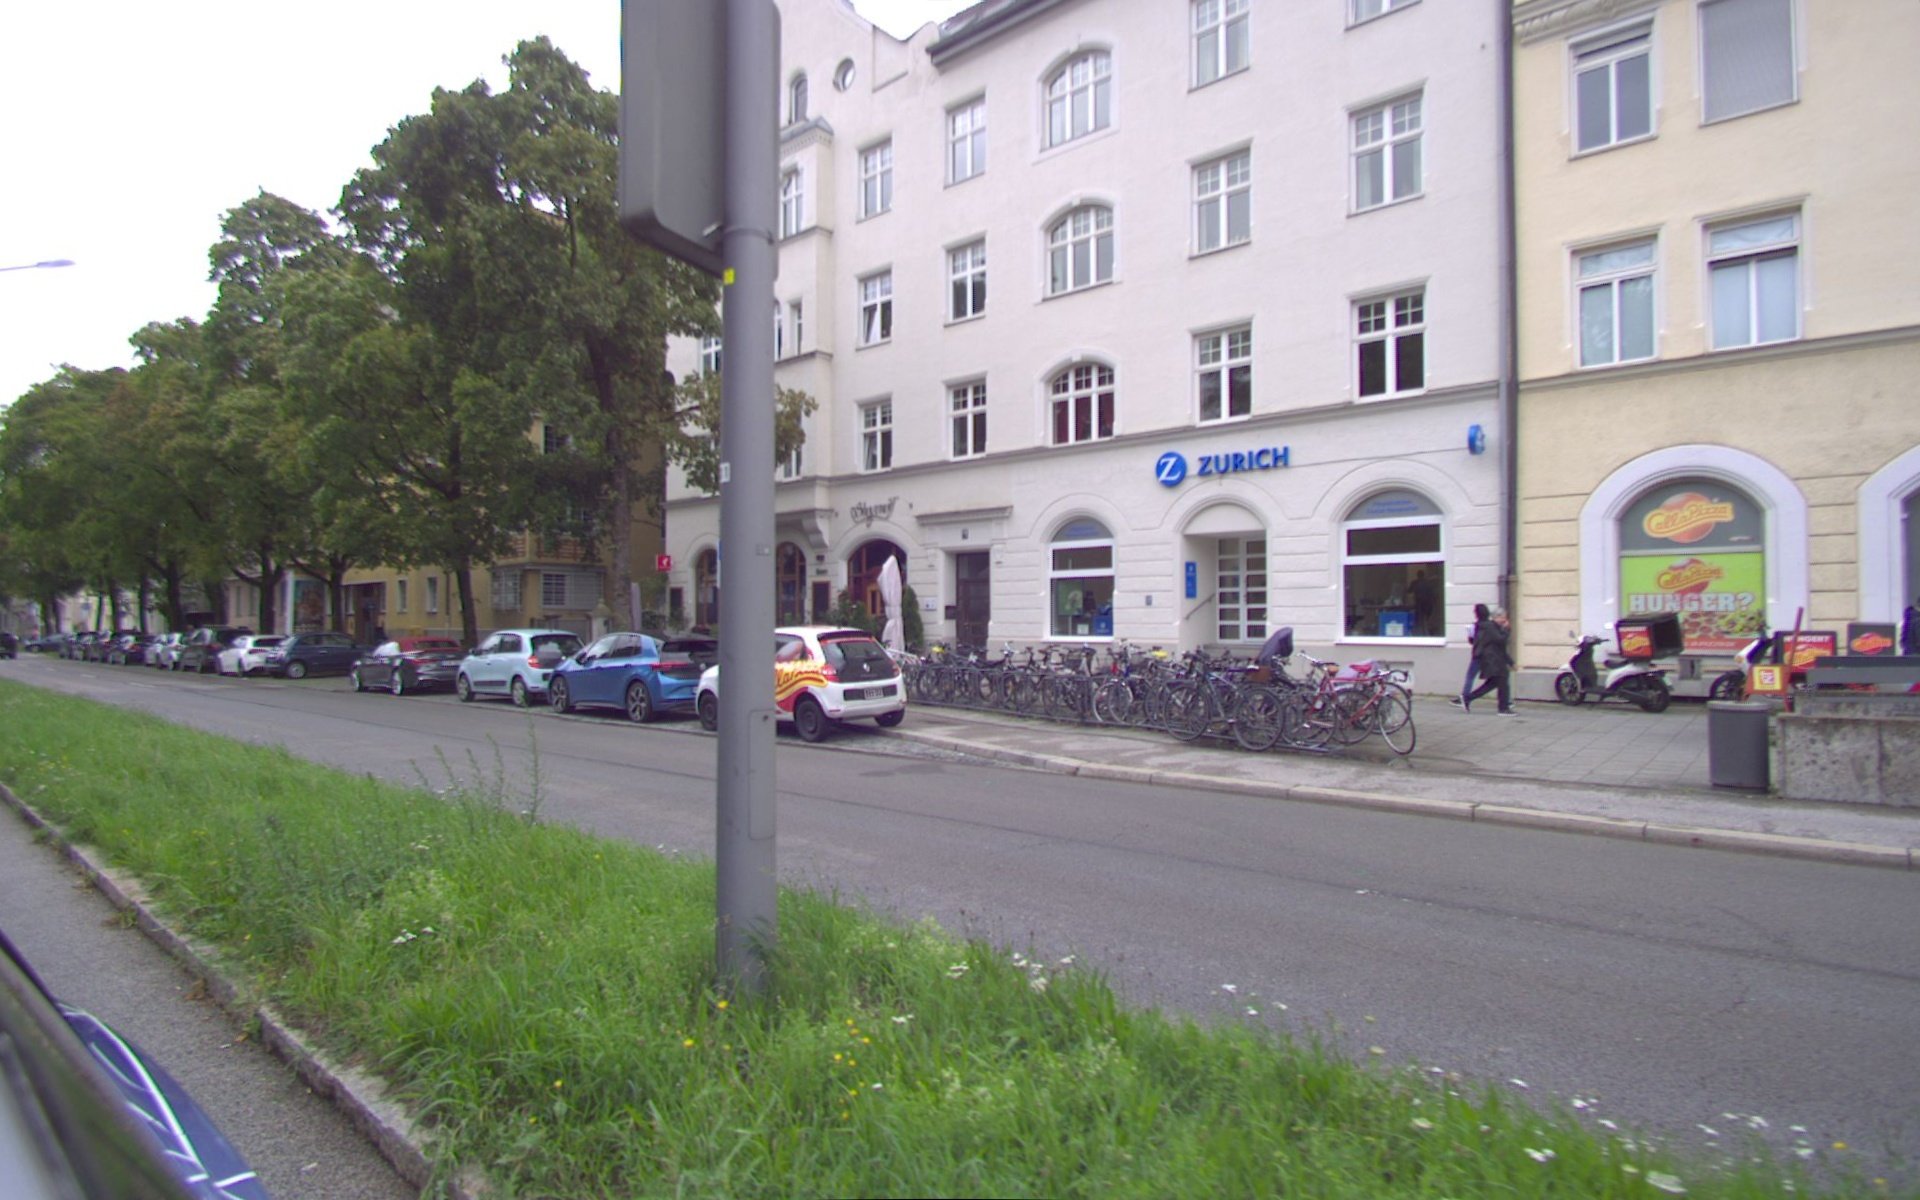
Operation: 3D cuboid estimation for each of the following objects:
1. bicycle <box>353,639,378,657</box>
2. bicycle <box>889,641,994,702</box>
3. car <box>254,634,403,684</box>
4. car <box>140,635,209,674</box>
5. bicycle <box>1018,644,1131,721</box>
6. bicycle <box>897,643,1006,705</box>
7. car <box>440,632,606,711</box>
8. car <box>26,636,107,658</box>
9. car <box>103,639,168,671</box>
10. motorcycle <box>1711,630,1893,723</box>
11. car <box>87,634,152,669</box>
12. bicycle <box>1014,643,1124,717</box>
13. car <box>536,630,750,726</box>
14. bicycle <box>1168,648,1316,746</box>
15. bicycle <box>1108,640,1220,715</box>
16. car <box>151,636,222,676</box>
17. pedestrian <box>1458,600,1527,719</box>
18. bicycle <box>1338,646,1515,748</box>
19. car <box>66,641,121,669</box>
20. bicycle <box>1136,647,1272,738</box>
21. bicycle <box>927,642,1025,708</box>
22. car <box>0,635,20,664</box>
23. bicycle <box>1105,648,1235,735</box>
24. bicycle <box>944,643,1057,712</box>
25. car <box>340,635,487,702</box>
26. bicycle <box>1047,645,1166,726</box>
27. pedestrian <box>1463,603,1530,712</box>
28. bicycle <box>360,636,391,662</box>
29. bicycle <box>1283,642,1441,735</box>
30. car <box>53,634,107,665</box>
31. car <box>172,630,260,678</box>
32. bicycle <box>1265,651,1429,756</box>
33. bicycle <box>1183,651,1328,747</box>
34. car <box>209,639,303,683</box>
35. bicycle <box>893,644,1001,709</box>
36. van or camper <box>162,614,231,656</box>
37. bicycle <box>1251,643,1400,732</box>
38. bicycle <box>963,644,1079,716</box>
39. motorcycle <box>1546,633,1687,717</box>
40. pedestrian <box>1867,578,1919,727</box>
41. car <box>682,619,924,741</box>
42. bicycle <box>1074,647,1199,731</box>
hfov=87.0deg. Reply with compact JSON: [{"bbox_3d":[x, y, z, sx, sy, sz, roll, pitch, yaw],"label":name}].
[{"bbox_3d":[-30.345,2.443,51.649,1.930,0.906,0.536,-2,-2,42],"label":"bicycle"},{"bbox_3d":[-0.345,1.355,19.228,1.945,1.124,0.457,-1,-2,10],"label":"bicycle"},{"bbox_3d":[-20.904,1.924,33.610,1.731,1.475,3.850,-2,-1,40],"label":"car"},{"bbox_3d":[-34.604,2.365,44.555,4.055,1.573,1.708,-2,-2,42],"label":"car"},{"bbox_3d":[1.729,1.243,15.350,1.667,1.124,0.328,-1,-2,19],"label":"bicycle"},{"bbox_3d":[-0.154,1.368,18.780,1.967,1.124,0.503,-1,-2,10],"label":"bicycle"},{"bbox_3d":[-9.406,1.460,21.653,3.959,1.518,1.791,-2,-2,42],"label":"car"},{"bbox_3d":[-64.238,3.373,72.805,3.932,1.386,1.867,-1,-2,-16],"label":"car"},{"bbox_3d":[-38.826,2.539,47.622,4.361,1.416,1.708,-2,-2,42],"label":"car"},{"bbox_3d":[11.380,0.992,13.784,0.600,1.130,1.991,0,-1,-9],"label":"motorcycle"},{"bbox_3d":[-42.933,2.596,51.678,4.768,1.658,1.859,-2,-2,42],"label":"car"},{"bbox_3d":[1.689,1.236,15.804,1.667,1.124,0.328,-1,-2,19],"label":"bicycle"},{"bbox_3d":[-5.850,1.324,18.414,4.289,1.518,1.791,-2,-2,42],"label":"car"},{"bbox_3d":[3.364,1.144,12.139,1.667,1.124,0.366,-1,-2,19],"label":"bicycle"},{"bbox_3d":[3.178,1.202,15.803,1.667,1.124,0.328,-1,-2,19],"label":"bicycle"},{"bbox_3d":[-31.934,2.292,41.772,3.007,1.569,1.709,-2,-2,40],"label":"car"},{"bbox_3d":[7.849,0.864,14.923,0.770,1.710,0.537,-2,-2,40],"label":"pedestrian"},{"bbox_3d":[5.351,1.098,11.702,1.799,1.124,0.394,-1,-2,19],"label":"bicycle"},{"bbox_3d":[-47.514,2.980,55.467,4.491,1.465,1.674,-2,-2,42],"label":"car"},{"bbox_3d":[3.135,1.177,13.053,1.667,1.124,0.365,-1,-2,19],"label":"bicycle"},{"bbox_3d":[0.276,1.304,17.616,1.665,1.124,0.329,-1,-2,14],"label":"bicycle"},{"bbox_3d":[-55.191,2.792,57.795,4.620,1.597,1.855,-2,-4,43],"label":"car"},{"bbox_3d":[2.820,1.220,13.611,1.667,1.124,0.328,-1,-2,19],"label":"bicycle"},{"bbox_3d":[0.672,1.296,16.999,1.859,1.124,0.328,-1,-2,19],"label":"bicycle"},{"bbox_3d":[-13.801,1.650,25.436,4.644,1.518,1.791,-2,-2,42],"label":"car"},{"bbox_3d":[2.129,1.232,14.722,1.667,1.124,0.328,-1,-2,19],"label":"bicycle"},{"bbox_3d":[8.268,0.875,15.605,0.416,1.644,0.784,1,-2,-42],"label":"pedestrian"},{"bbox_3d":[-28.831,2.403,49.885,1.930,1.231,0.761,-2,-2,42],"label":"bicycle"},{"bbox_3d":[5.028,1.102,12.764,1.799,1.124,0.394,-1,-2,19],"label":"bicycle"},{"bbox_3d":[-51.201,2.866,58.865,4.437,1.700,1.854,-2,-2,42],"label":"car"},{"bbox_3d":[-28.675,2.036,38.962,4.765,1.741,1.791,-2,-2,42],"label":"car"},{"bbox_3d":[4.295,1.136,11.310,1.667,1.124,0.328,-1,-2,19],"label":"bicycle"},{"bbox_3d":[3.626,1.199,12.464,1.667,1.124,0.328,-1,-2,19],"label":"bicycle"},{"bbox_3d":[-24.350,2.066,34.950,4.402,1.413,1.708,-2,-2,42],"label":"car"},{"bbox_3d":[-0.229,1.374,18.234,1.860,1.124,0.548,-1,-2,10],"label":"bicycle"},{"bbox_3d":[-49.408,2.244,65.436,6.848,2.599,2.321,-2,-2,42],"label":"van or camper"},{"bbox_3d":[4.777,1.139,13.321,1.799,1.124,0.394,-1,-2,19],"label":"bicycle"},{"bbox_3d":[0.987,1.291,16.478,1.859,1.124,0.328,-1,-2,19],"label":"bicycle"},{"bbox_3d":[9.856,1.086,15.295,0.600,1.139,1.991,0,-1,-9],"label":"motorcycle"},{"bbox_3d":[11.359,0.599,11.810,0.936,1.710,0.590,-1,-2,14],"label":"pedestrian"},{"bbox_3d":[-2.441,1.105,15.187,3.790,1.597,1.631,-2,-2,44],"label":"car"},{"bbox_3d":[2.452,1.230,14.123,1.667,1.124,0.380,-1,-2,19],"label":"bicycle"}]
